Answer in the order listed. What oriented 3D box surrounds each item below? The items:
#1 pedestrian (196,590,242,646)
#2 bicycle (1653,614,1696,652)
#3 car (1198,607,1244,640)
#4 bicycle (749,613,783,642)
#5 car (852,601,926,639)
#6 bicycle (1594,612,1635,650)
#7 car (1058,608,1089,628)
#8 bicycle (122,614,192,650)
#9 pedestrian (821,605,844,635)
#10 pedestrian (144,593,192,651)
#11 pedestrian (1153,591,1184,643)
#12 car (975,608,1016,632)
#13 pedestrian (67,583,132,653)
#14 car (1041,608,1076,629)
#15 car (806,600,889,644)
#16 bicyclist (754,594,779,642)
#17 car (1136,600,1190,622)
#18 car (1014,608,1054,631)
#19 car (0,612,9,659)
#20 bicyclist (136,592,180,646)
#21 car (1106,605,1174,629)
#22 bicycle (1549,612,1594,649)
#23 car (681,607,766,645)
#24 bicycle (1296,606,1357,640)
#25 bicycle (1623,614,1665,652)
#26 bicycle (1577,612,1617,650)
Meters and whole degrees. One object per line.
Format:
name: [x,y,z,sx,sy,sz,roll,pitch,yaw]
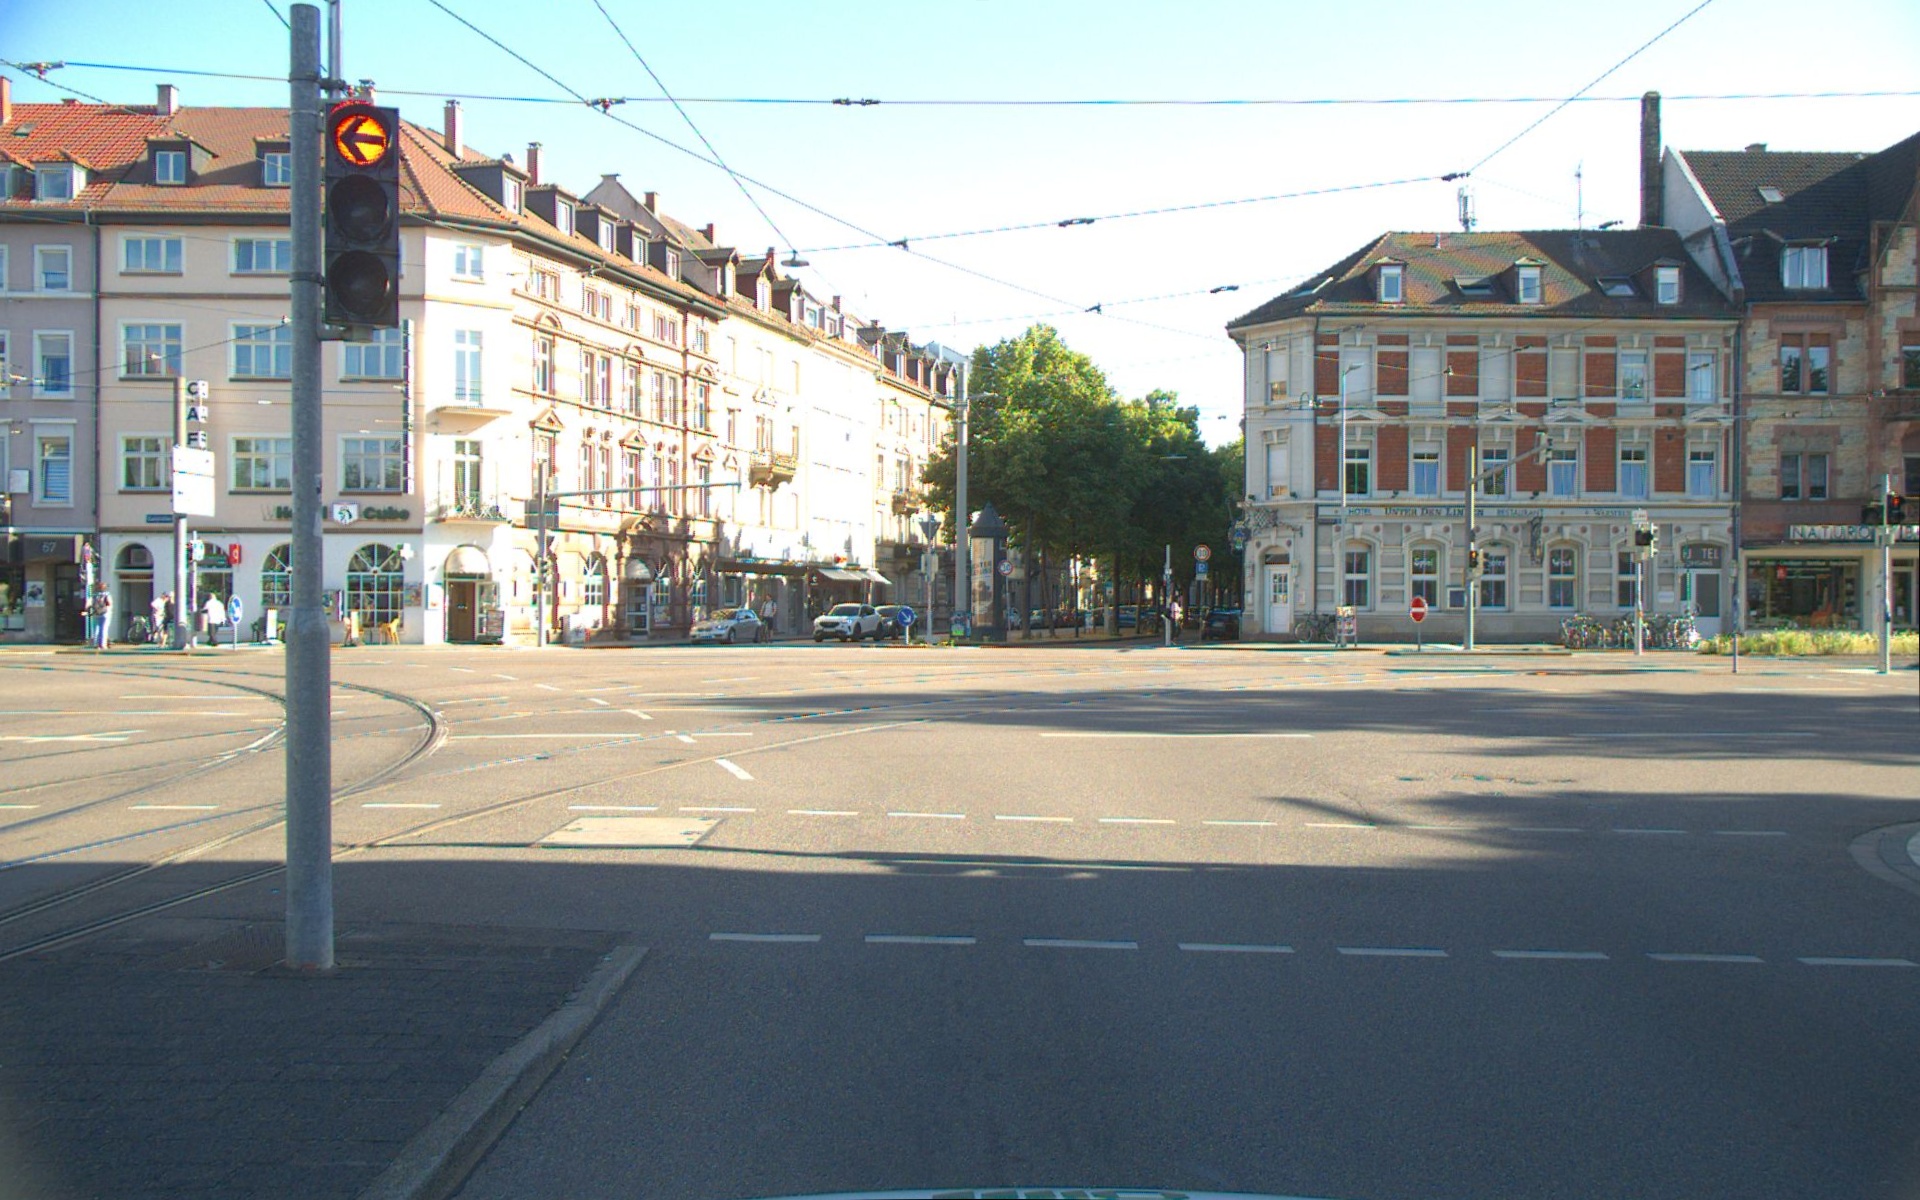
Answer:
pedestrian: [-23.883,0.569,53.314,0.920,1.806,1.008,0,0,26]
bicycle: [23.039,1.053,53.389,0.596,1.156,2.136,0,0,4]
car: [13.073,1.154,82.625,1.951,1.613,4.003,0,0,13]
bicycle: [-7.593,1.077,64.882,0.665,1.085,2.127,0,0,12]
car: [-3.145,0.857,73.780,1.951,1.640,4.393,0,0,17]
bicycle: [21.167,0.988,53.501,0.605,1.163,2.175,0,0,4]
car: [9.397,1.454,136.455,1.727,1.576,4.394,0,0,16]
bicycle: [-27.094,1.074,55.809,2.048,1.202,0.631,0,0,-1]
pedestrian: [-6.812,1.074,88.320,0.908,1.562,1.138,0,0,13]
pedestrian: [-24.890,0.681,52.000,0.985,1.806,0.942,0,0,14]
pedestrian: [7.227,0.586,57.386,1.024,1.774,0.809,0,0,5]
car: [2.416,1.318,110.982,1.951,1.512,4.003,0,0,13]
pedestrian: [-21.565,0.446,41.487,1.058,1.714,1.103,0,0,-1]
car: [7.785,1.415,130.554,1.798,1.579,4.393,0,0,16]
car: [-4.540,0.880,67.246,1.951,1.713,4.393,0,0,17]
bicyclist: [-7.582,0.690,64.924,0.664,1.852,1.071,0,0,12]
car: [16.423,0.877,133.864,3.912,1.736,1.996,0,0,30]
car: [5.531,1.418,122.730,1.951,1.640,4.393,0,0,17]
car: [-32.396,1.140,51.939,3.907,1.478,1.999,0,0,-3]
bicyclist: [-27.147,0.626,55.994,1.142,1.806,0.748,0,0,-2]
car: [12.567,1.193,115.366,4.290,1.640,1.998,0,0,26]
bicycle: [19.824,0.983,53.650,0.789,1.163,2.175,0,0,4]
car: [-9.523,1.031,66.892,1.858,1.481,4.002,0,0,17]
bicycle: [12.754,0.813,57.575,2.045,1.144,0.366,1,-1,-5]
bicycle: [22.075,1.050,53.441,0.605,1.163,2.175,0,0,4]
bicycle: [20.595,0.994,53.531,0.605,1.163,2.175,0,0,4]
